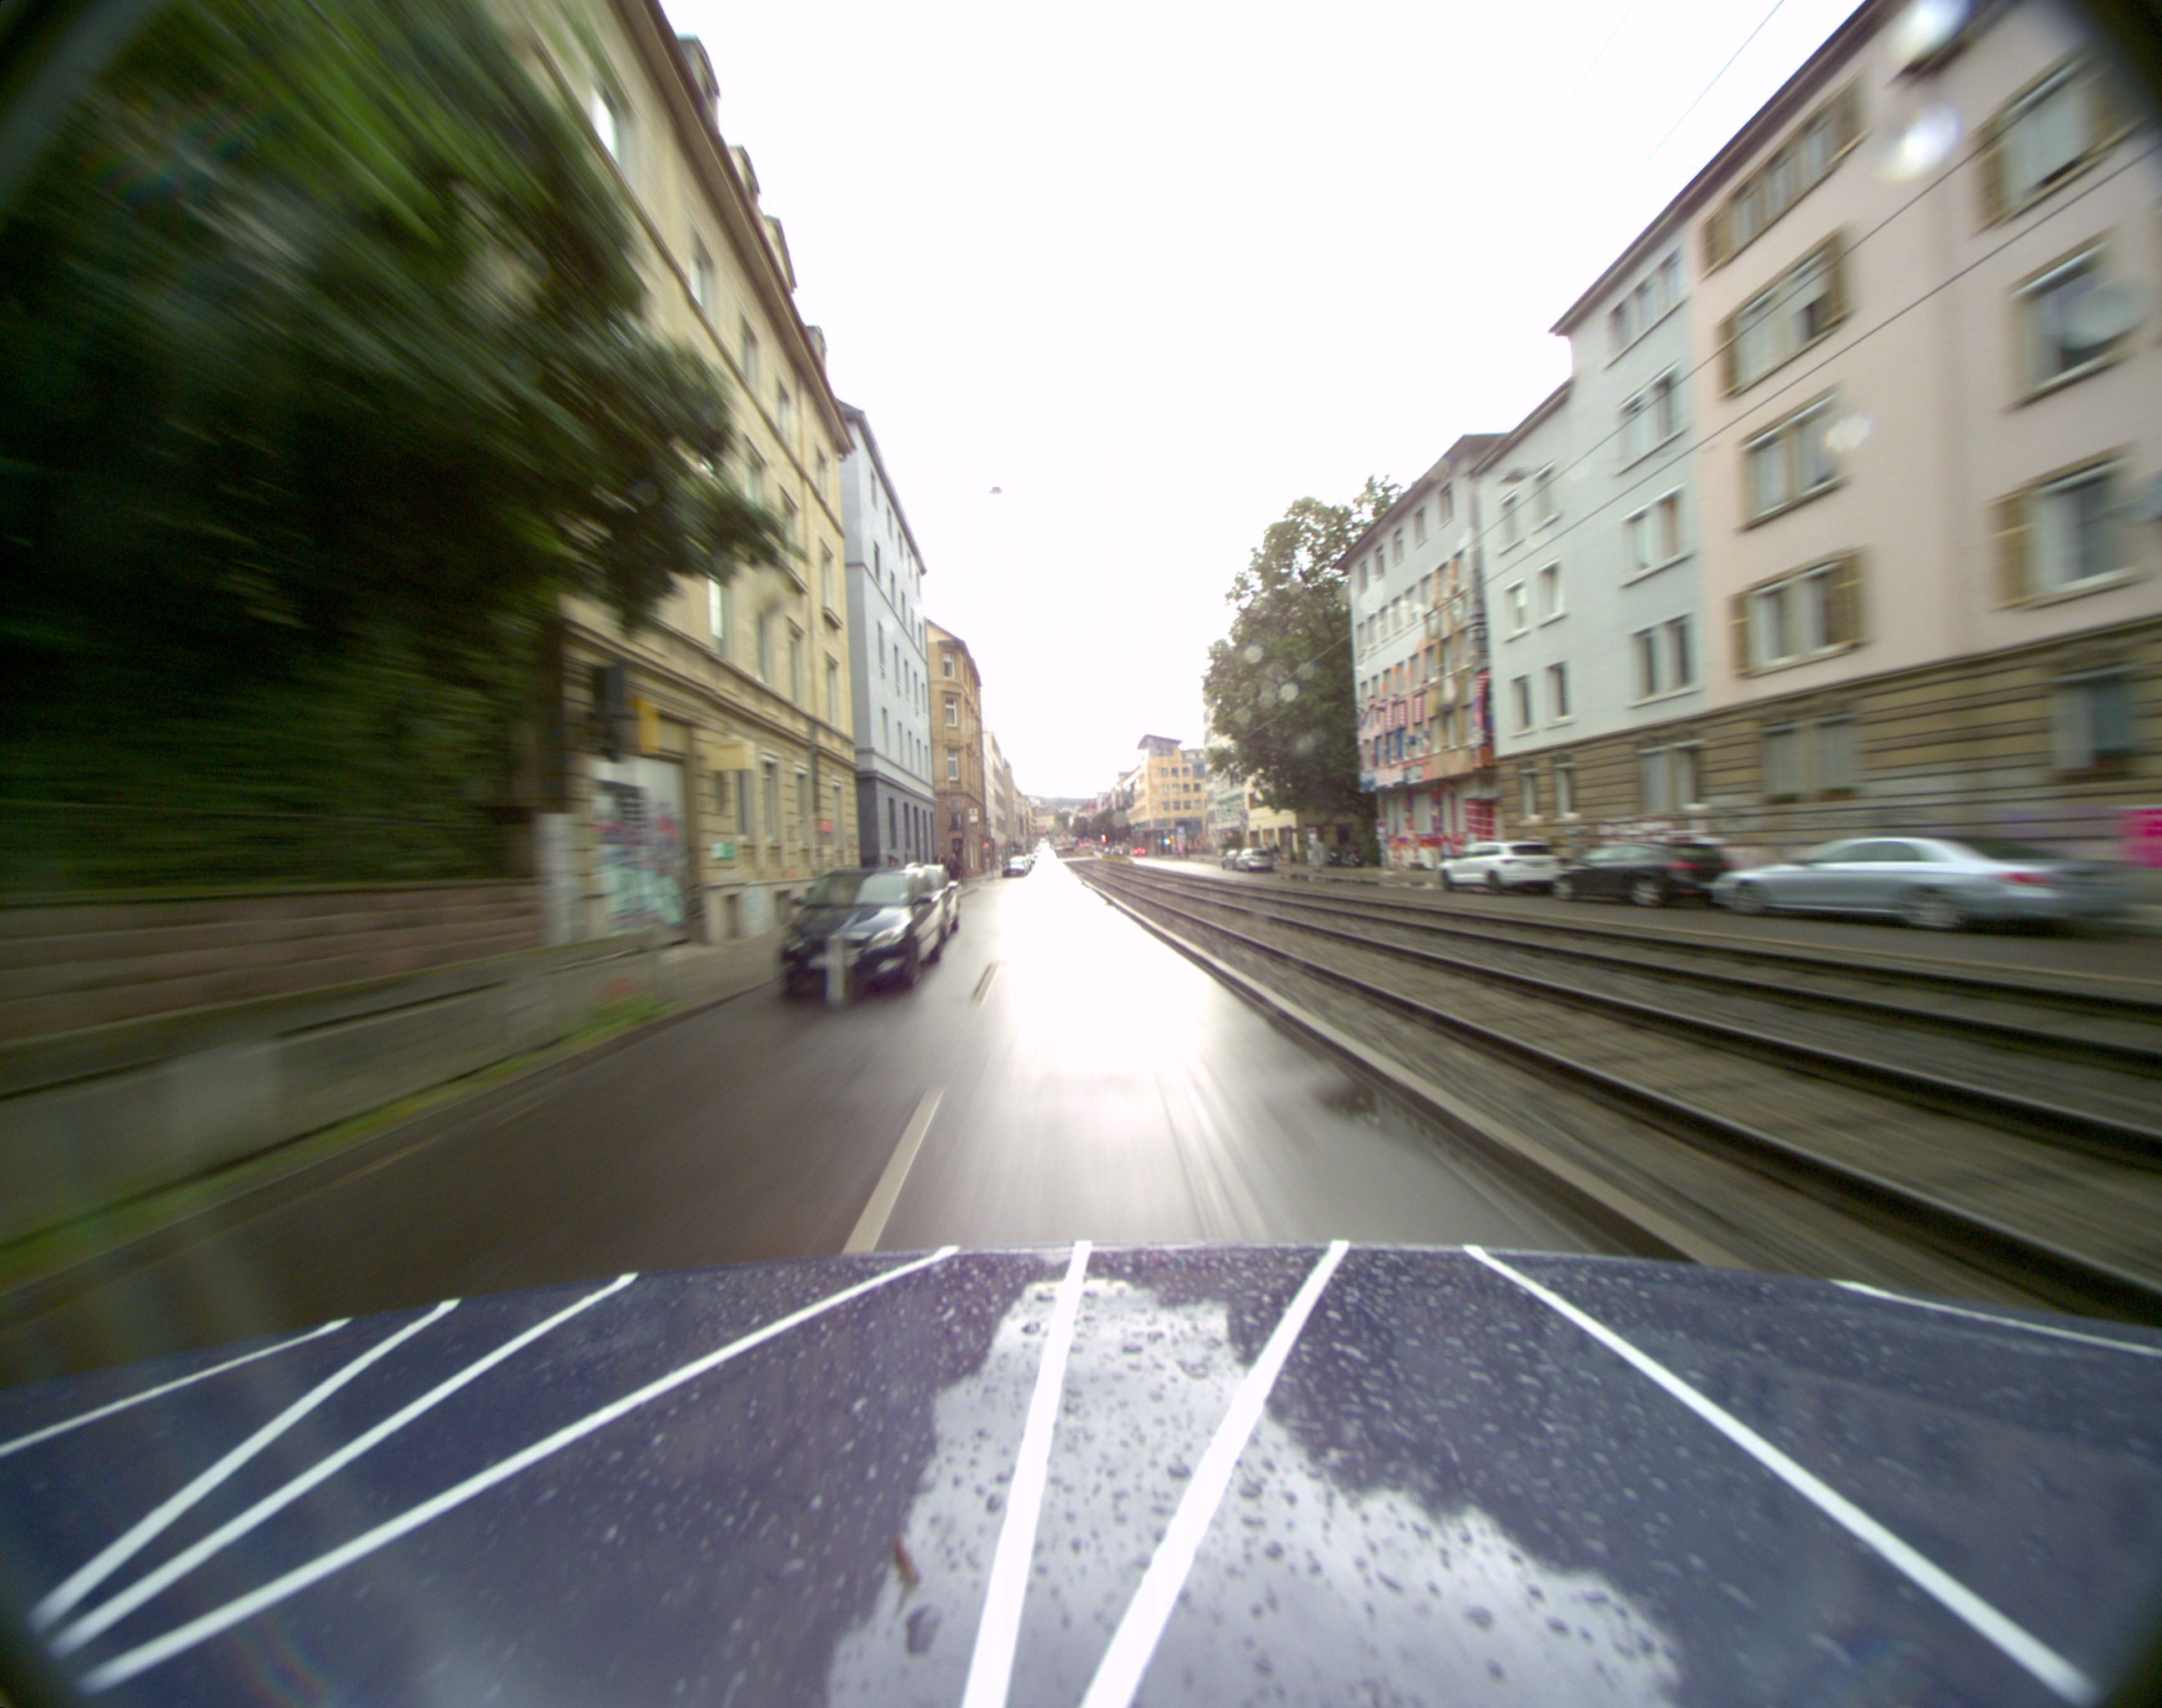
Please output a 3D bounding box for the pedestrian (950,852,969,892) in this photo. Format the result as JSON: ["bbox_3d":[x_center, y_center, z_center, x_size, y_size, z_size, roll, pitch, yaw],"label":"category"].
[{"bbox_3d":[-5.793,0.862,36.272,0.716,1.879,0.599,-3,1,-4],"label":"pedestrian"}]

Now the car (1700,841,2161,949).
[{"bbox_3d":[13.149,0.533,12.341,1.999,1.389,5.021,0,0,-2],"label":"car"}]

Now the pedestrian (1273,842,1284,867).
[{"bbox_3d":[15.057,0.018,57.860,0.651,1.858,0.536,-2,0,1],"label":"pedestrian"}]

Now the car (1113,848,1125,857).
[{"bbox_3d":[8.134,-0.353,162.734,1.999,1.674,3.999,-3,0,-2],"label":"car"}]

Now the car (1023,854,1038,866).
[{"bbox_3d":[-7.283,0.851,110.101,1.999,1.674,4.124,-3,0,-2],"label":"car"}]

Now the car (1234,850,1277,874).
[{"bbox_3d":[11.853,0.555,51.949,1.843,1.532,4.227,-1,0,-2],"label":"car"}]

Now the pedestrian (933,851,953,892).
[{"bbox_3d":[-6.555,0.826,36.203,0.765,1.902,0.588,-3,1,-4],"label":"pedestrian"}]

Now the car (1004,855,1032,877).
[{"bbox_3d":[-5.095,0.946,62.195,1.999,1.674,4.124,-3,0,-2],"label":"car"}]

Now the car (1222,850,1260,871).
[{"bbox_3d":[11.853,0.471,56.612,1.843,1.532,4.227,-1,0,-2],"label":"car"}]

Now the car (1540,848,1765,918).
[{"bbox_3d":[12.972,0.596,17.653,1.843,1.389,4.264,-1,0,-4],"label":"car"}]

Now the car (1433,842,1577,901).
[{"bbox_3d":[12.842,0.496,23.333,1.843,1.596,4.226,-1,0,-4],"label":"car"}]

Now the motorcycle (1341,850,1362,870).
[{"bbox_3d":[16.532,0.348,46.442,0.437,1.174,2.017,-3,0,-2],"label":"motorcycle"}]

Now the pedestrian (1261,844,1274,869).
[{"bbox_3d":[14.260,0.178,58.064,0.809,1.858,0.536,-2,0,1],"label":"pedestrian"}]

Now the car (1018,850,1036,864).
[{"bbox_3d":[-6.712,0.377,95.453,1.999,1.674,4.124,-3,0,-2],"label":"car"}]

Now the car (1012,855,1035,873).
[{"bbox_3d":[-5.853,1.004,77.813,1.999,1.674,4.124,-3,0,-2],"label":"car"}]

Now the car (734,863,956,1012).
[{"bbox_3d":[-2.979,0.957,10.607,1.788,1.521,4.244,-3,0,-2],"label":"car"}]

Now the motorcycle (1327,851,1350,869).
[{"bbox_3d":[16.581,0.386,49.036,0.473,1.139,2.565,-3,0,-2],"label":"motorcycle"}]

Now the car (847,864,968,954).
[{"bbox_3d":[-3.507,1.041,16.148,1.760,1.521,4.332,-3,0,-4],"label":"car"}]

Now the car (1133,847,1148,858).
[{"bbox_3d":[10.027,-0.230,128.253,1.999,1.674,3.999,-3,0,-2],"label":"car"}]
